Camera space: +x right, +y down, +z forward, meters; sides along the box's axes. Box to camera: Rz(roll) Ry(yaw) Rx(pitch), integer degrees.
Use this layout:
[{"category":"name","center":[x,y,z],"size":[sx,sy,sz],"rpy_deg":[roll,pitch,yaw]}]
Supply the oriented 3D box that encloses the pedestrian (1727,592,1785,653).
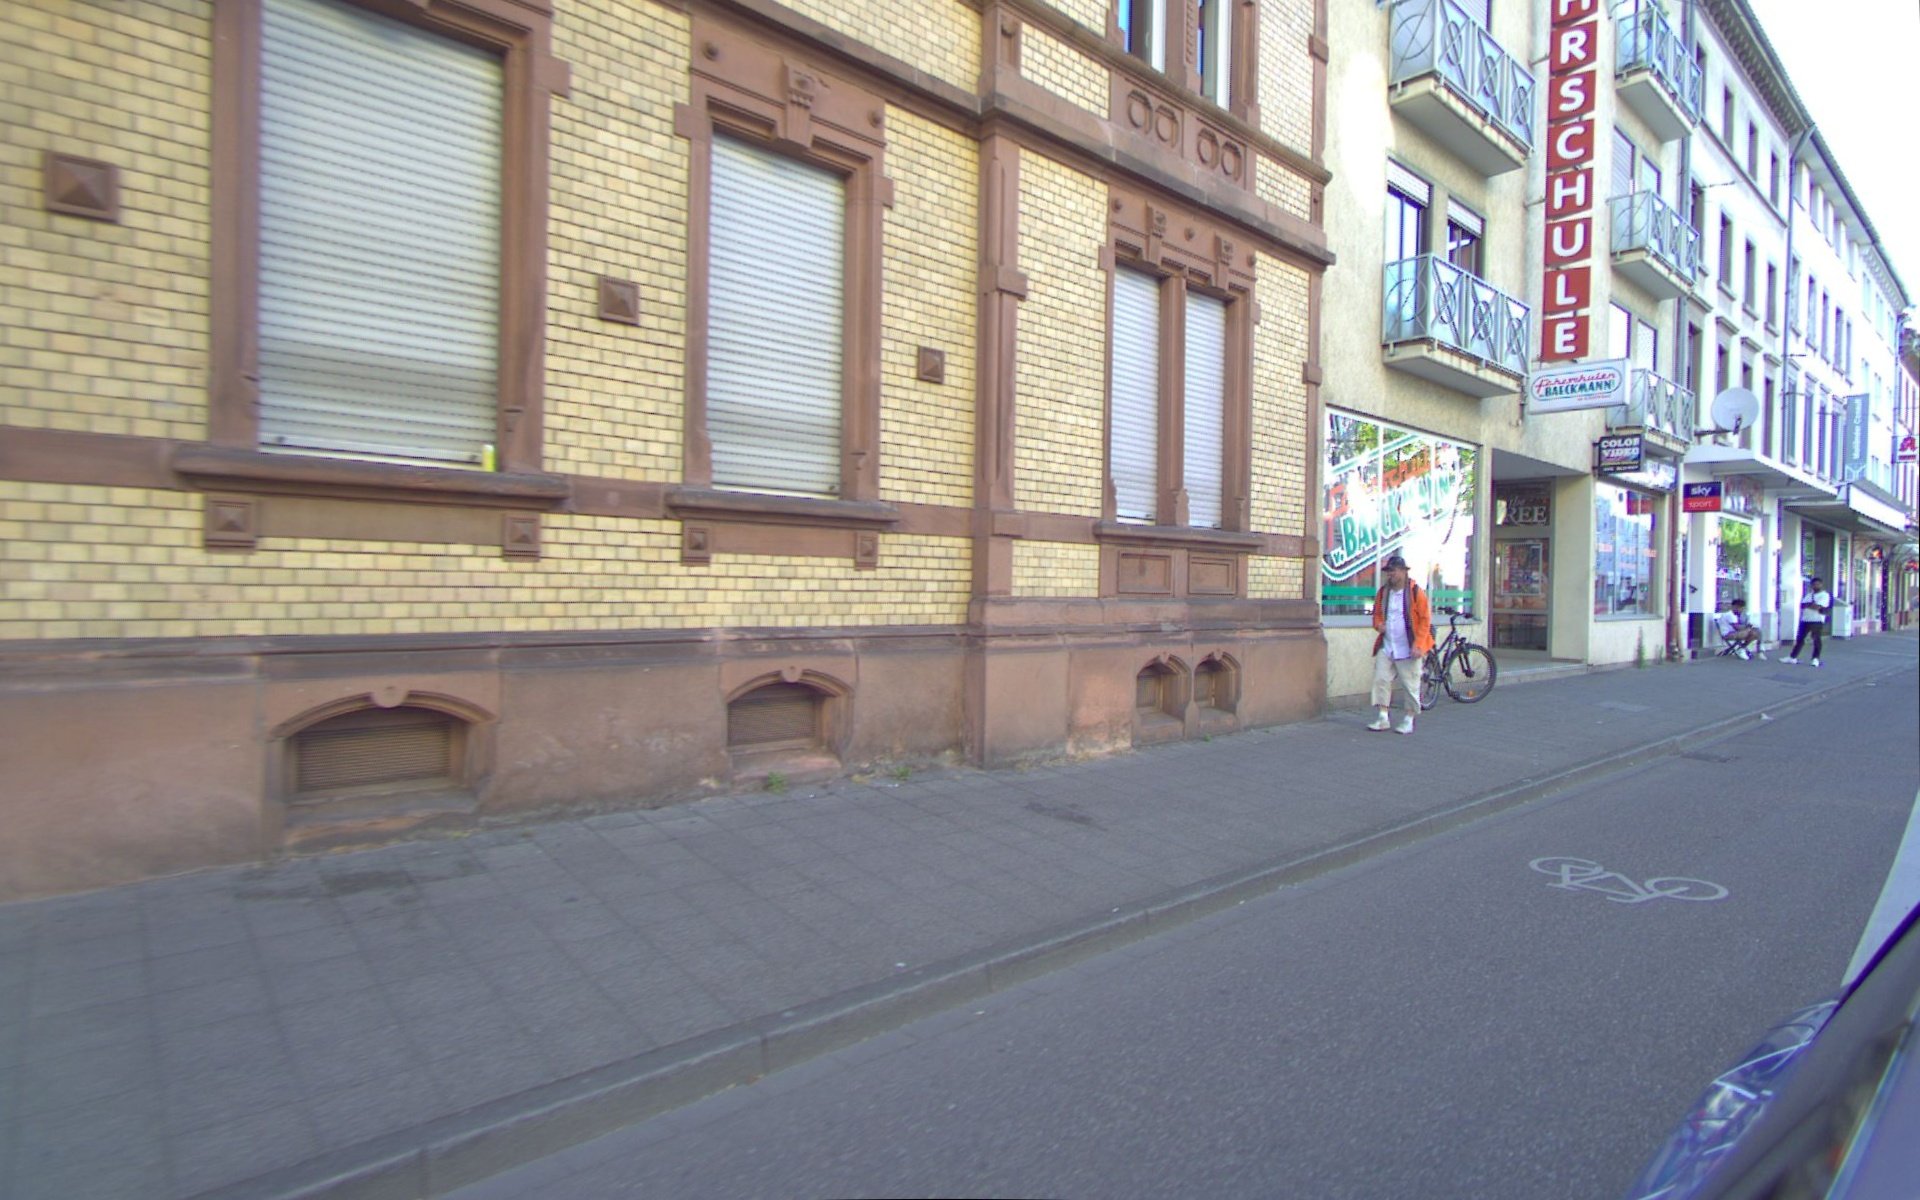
[{"category":"pedestrian","center":[16.977,0.462,21.609],"size":[0.701,1.188,1.006],"rpy_deg":[7,5,29]}]

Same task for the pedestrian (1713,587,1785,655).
[{"category":"pedestrian","center":[16.263,0.418,20.890],"size":[0.819,1.270,0.704],"rpy_deg":[6,4,14]}]

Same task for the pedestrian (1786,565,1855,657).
[{"category":"pedestrian","center":[17.989,0.230,21.170],"size":[0.665,1.833,0.709],"rpy_deg":[3,5,-26]}]

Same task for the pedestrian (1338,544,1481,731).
[{"category":"pedestrian","center":[4.275,0.337,9.651],"size":[0.810,1.647,0.801],"rpy_deg":[2,4,-35]}]

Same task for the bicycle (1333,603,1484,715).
[{"category":"bicycle","center":[4.932,0.596,11.047],"size":[2.270,1.074,0.556],"rpy_deg":[0,3,-41]}]
